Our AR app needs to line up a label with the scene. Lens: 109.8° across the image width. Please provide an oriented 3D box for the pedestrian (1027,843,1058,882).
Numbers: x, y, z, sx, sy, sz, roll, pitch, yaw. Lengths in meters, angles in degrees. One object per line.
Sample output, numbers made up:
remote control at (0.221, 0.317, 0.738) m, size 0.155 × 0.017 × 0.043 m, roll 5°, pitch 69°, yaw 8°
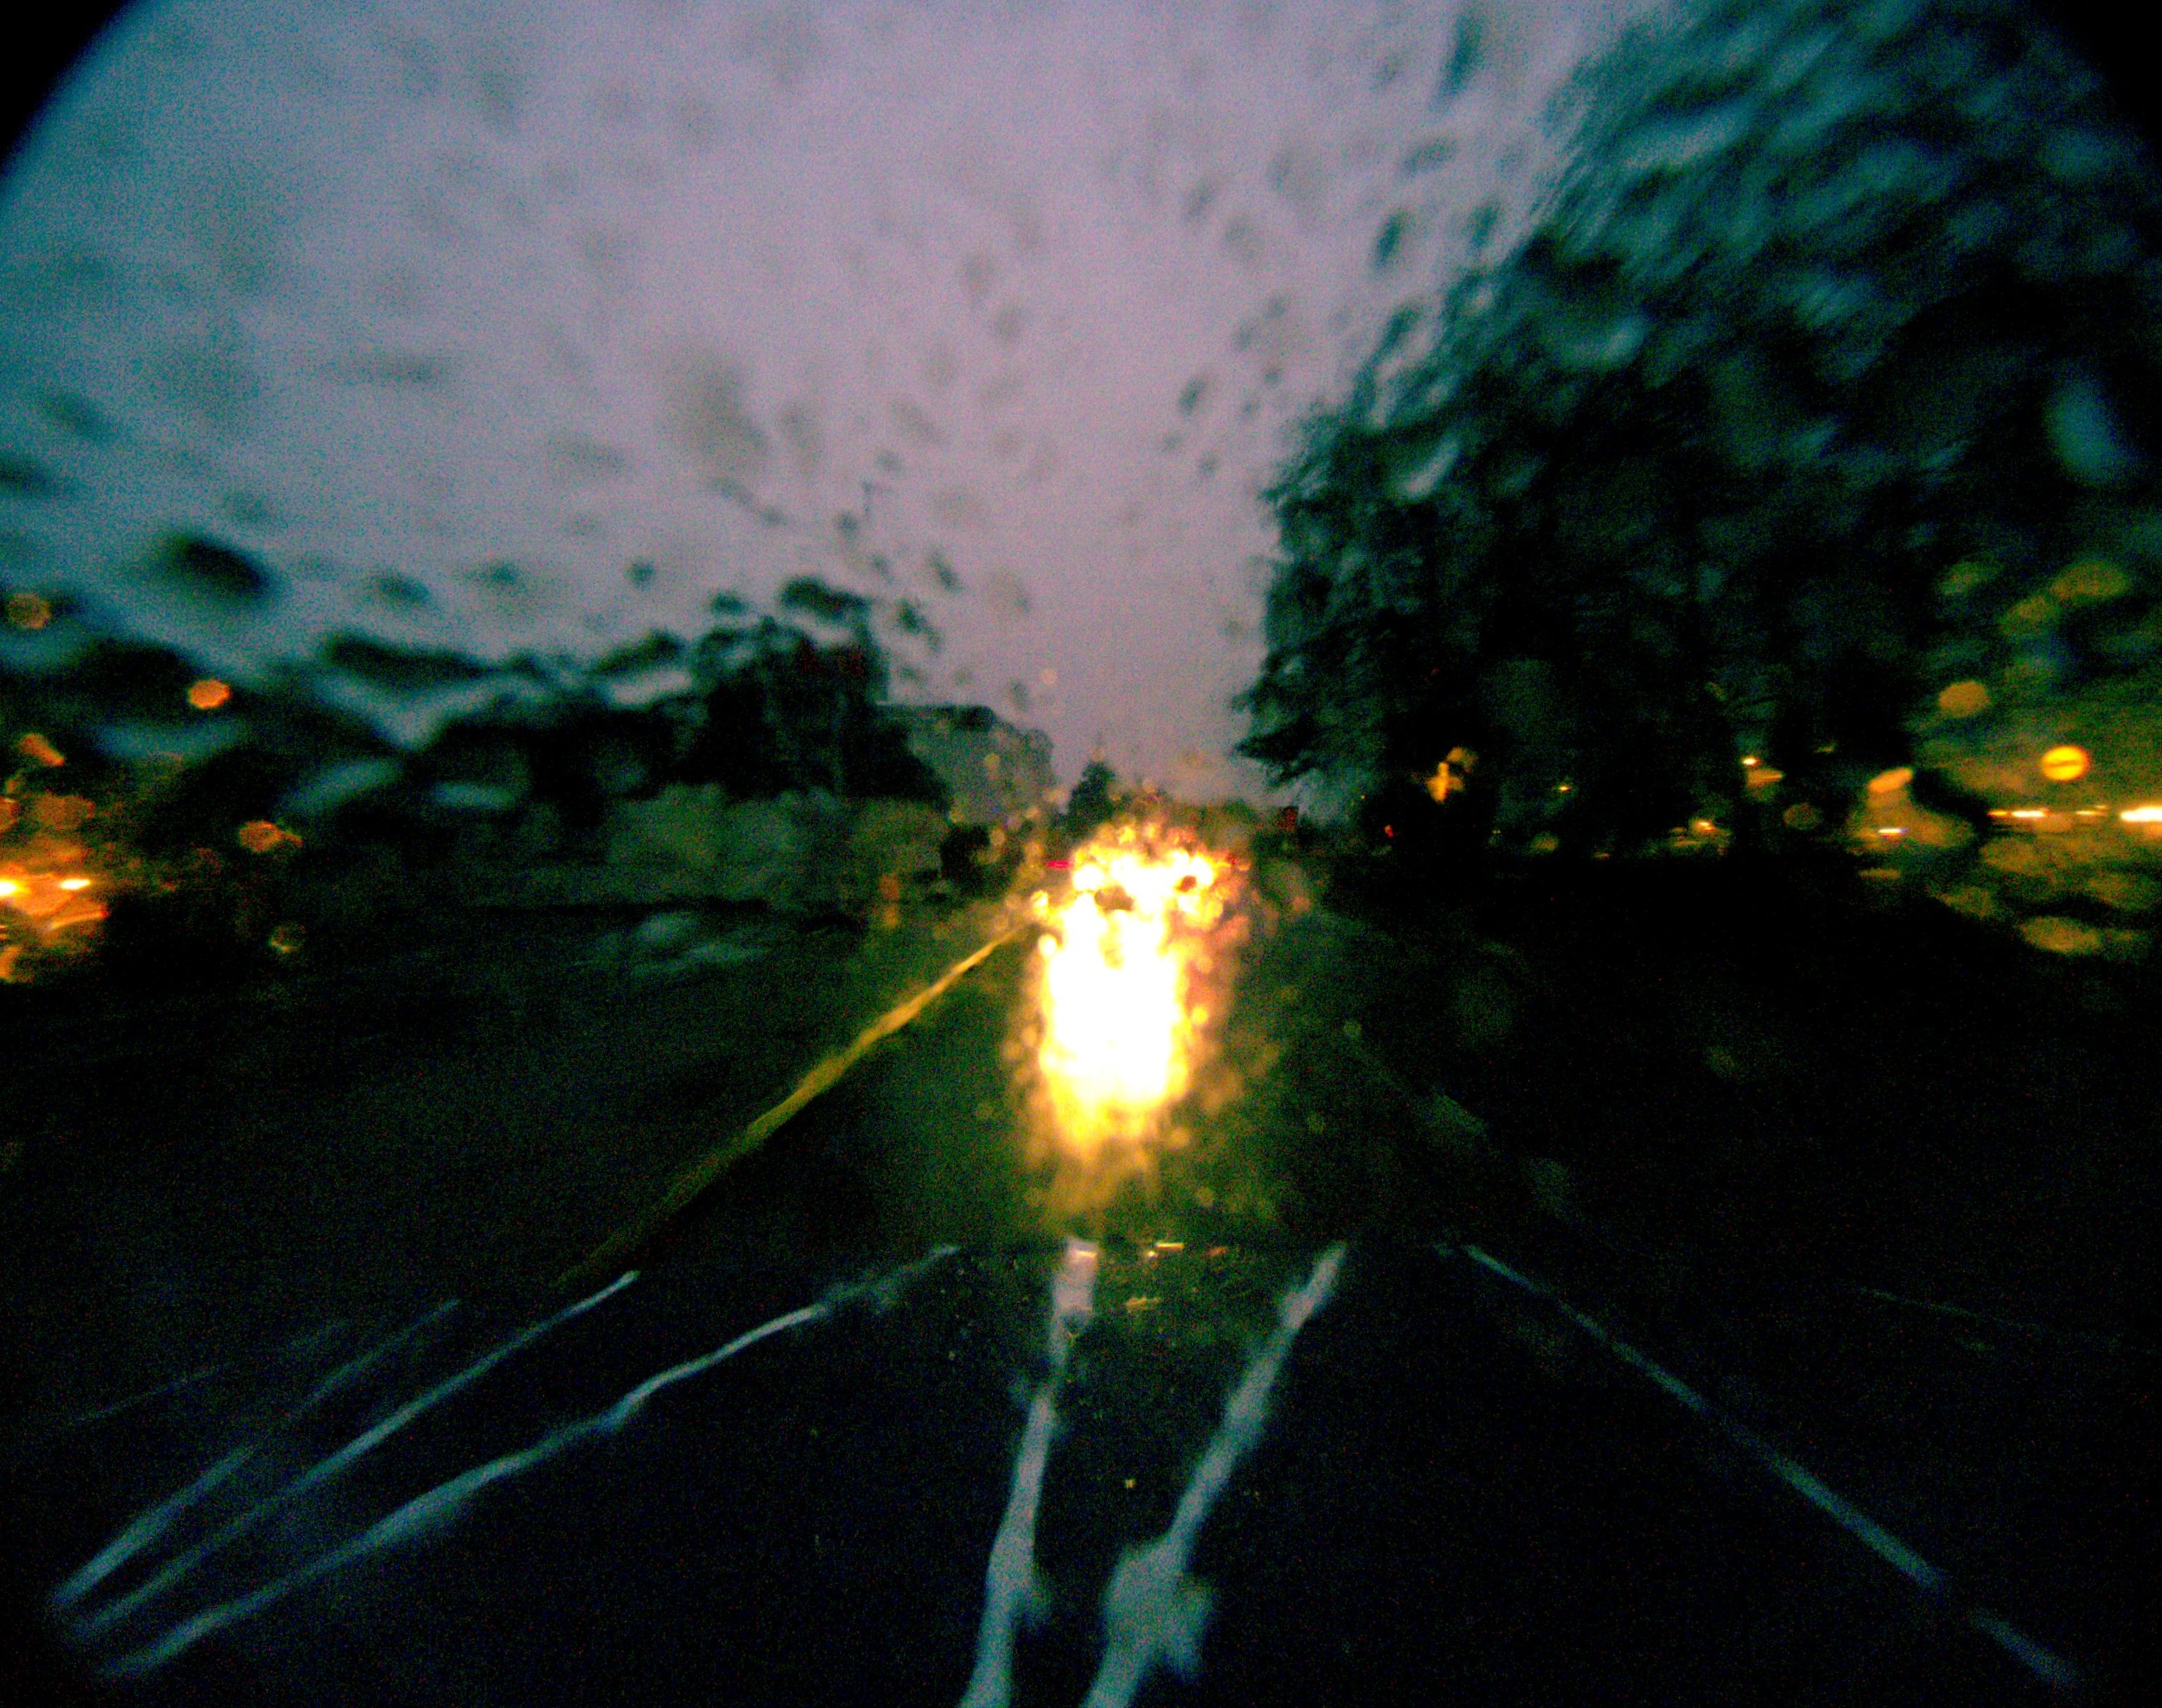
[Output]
pedestrian at (-1.904, 0.401, 37.712) m, size 1.257 × 1.855 × 1.304 m, roll 1°, pitch 1°, yaw 8°

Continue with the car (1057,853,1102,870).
car at (-0.096, 0.775, 74.266) m, size 4.180 × 1.432 × 1.798 m, roll -3°, pitch -1°, yaw 4°

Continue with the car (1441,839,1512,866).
car at (35.210, -0.118, 67.712) m, size 5.199 × 2.269 × 2.218 m, roll 1°, pitch 0°, yaw -2°

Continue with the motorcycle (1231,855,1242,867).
motorcycle at (13.706, 0.617, 66.904) m, size 0.867 × 1.018 × 2.111 m, roll -2°, pitch 1°, yaw 10°

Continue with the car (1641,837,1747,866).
car at (35.158, -0.135, 43.649) m, size 4.442 × 1.554 × 2.055 m, roll 1°, pitch -1°, yaw -2°

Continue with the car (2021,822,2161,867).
car at (40.648, -0.350, 29.775) m, size 1.971 × 1.661 × 4.413 m, roll -1°, pitch -1°, yaw -24°

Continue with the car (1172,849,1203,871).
car at (8.945, 0.464, 63.667) m, size 1.773 × 1.713 × 4.427 m, roll -1°, pitch 0°, yaw 18°

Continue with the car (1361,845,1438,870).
car at (23.309, 0.264, 55.681) m, size 4.783 × 1.701 × 2.033 m, roll -1°, pitch 0°, yaw -2°

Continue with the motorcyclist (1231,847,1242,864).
motorcyclist at (13.685, 0.119, 66.879) m, size 0.867 × 1.476 × 0.909 m, roll -2°, pitch 1°, yaw 10°

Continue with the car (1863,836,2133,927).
car at (23.216, 0.671, 19.354) m, size 4.660 × 1.965 × 2.127 m, roll -3°, pitch -1°, yaw -7°

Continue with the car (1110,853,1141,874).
car at (3.315, 0.661, 55.837) m, size 1.997 × 1.464 × 4.002 m, roll -2°, pitch 0°, yaw 8°

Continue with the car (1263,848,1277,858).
car at (34.816, -0.119, 139.785) m, size 1.944 × 1.795 × 4.179 m, roll -1°, pitch 0°, yaw 22°

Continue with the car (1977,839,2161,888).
car at (36.041, 0.367, 27.665) m, size 1.918 × 1.607 × 3.999 m, roll -2°, pitch -1°, yaw -5°

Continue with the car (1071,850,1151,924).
car at (0.797, 0.743, 19.241) m, size 1.775 × 1.632 × 4.422 m, roll -1°, pitch 0°, yaw 3°

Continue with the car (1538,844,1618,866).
car at (35.938, 0.076, 55.036) m, size 4.442 × 1.554 × 2.055 m, roll 1°, pitch -1°, yaw -2°

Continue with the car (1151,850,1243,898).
car at (4.987, 0.808, 32.207) m, size 1.895 × 1.689 × 4.248 m, roll -3°, pitch 1°, yaw 39°

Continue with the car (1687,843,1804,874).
car at (34.964, 0.258, 40.053) m, size 4.442 × 1.554 × 2.055 m, roll 1°, pitch -1°, yaw -2°

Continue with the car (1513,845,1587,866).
car at (35.719, 0.111, 57.945) m, size 4.442 × 1.554 × 2.055 m, roll 1°, pitch -1°, yaw -2°
